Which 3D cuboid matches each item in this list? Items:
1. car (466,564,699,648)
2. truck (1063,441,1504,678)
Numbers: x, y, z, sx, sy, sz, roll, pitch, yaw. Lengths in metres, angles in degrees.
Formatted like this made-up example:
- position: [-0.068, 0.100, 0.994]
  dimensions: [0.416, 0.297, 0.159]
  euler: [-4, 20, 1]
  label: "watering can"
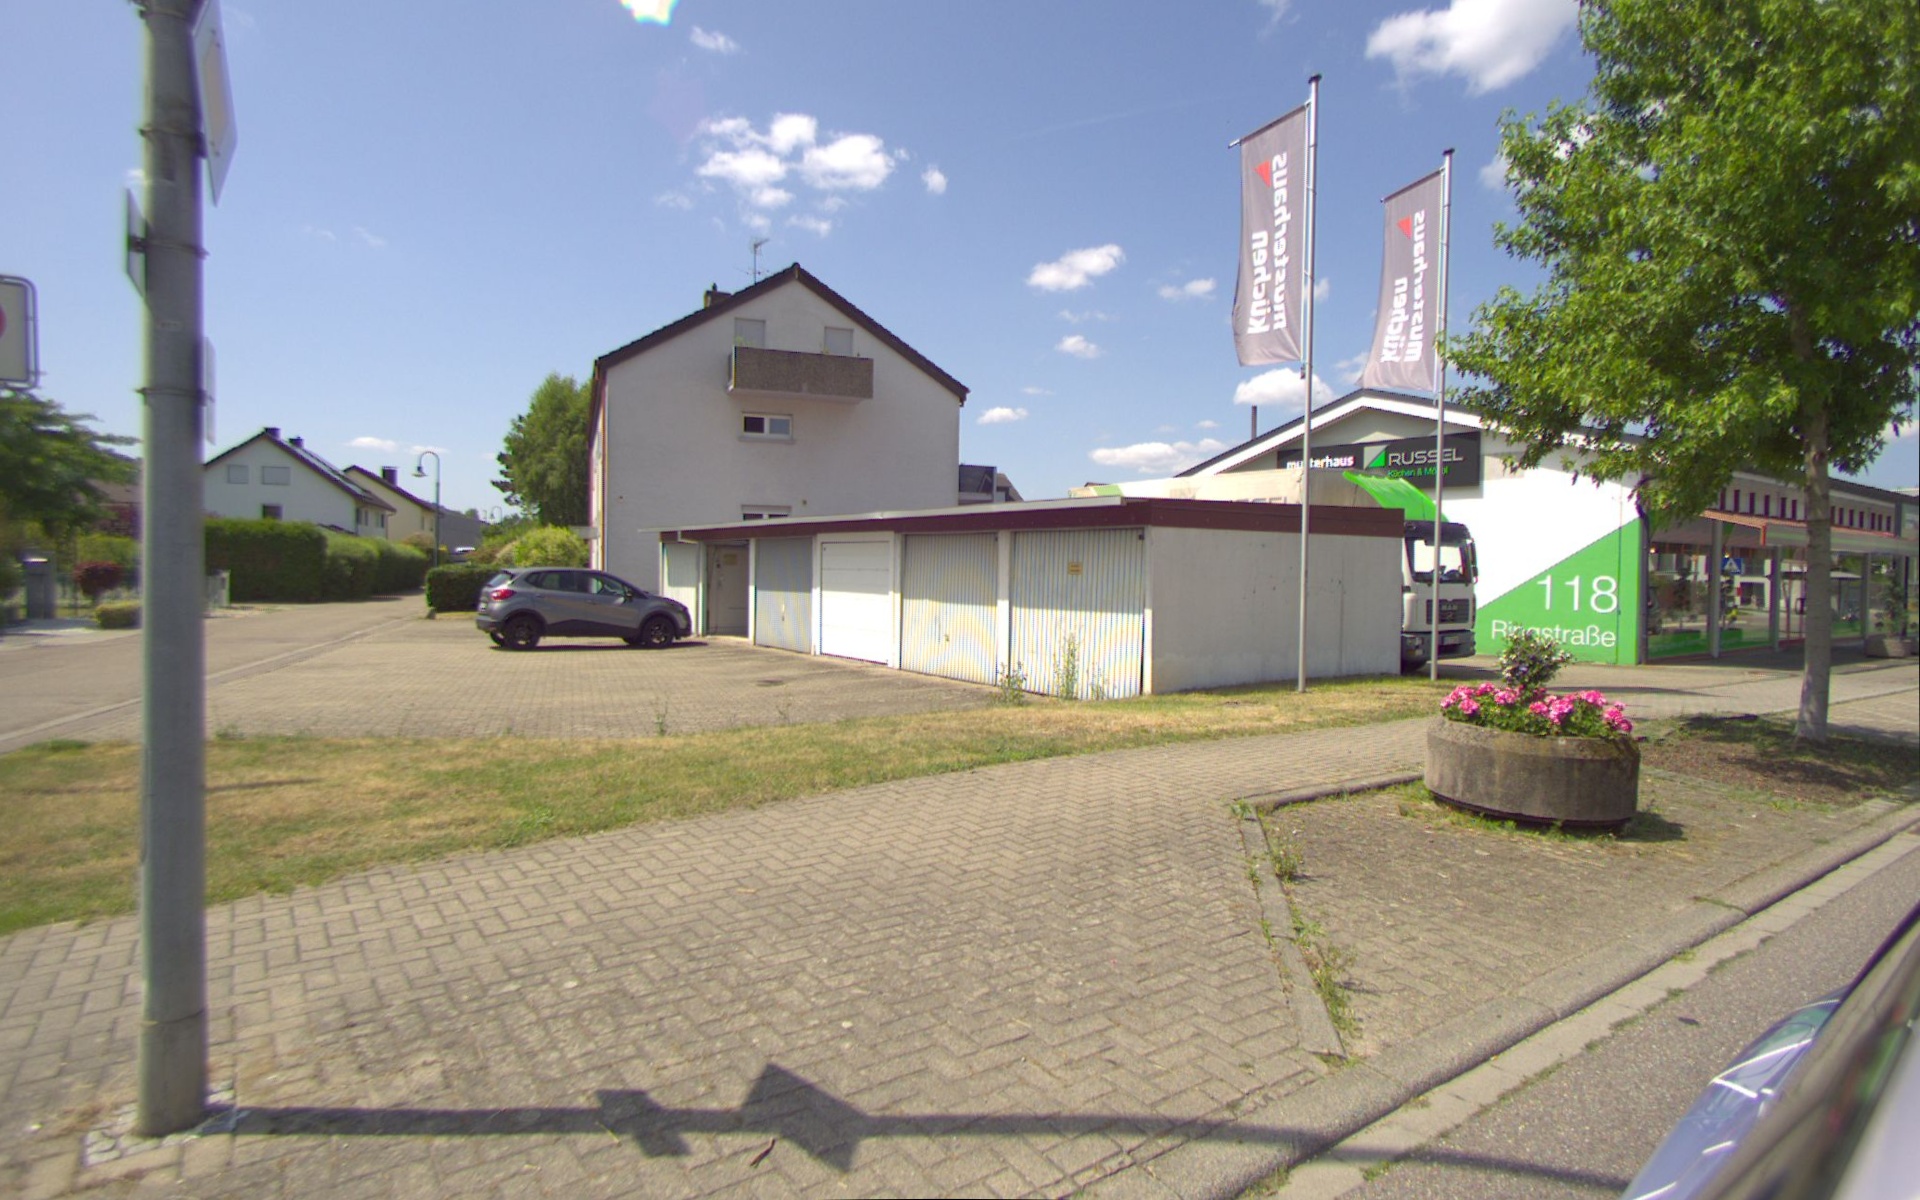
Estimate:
- position: [-7.438, 0.078, 20.090]
  dimensions: [4.052, 1.521, 1.681]
  euler: [0, 2, -35]
  label: "car"
- position: [5.695, -0.732, 19.571]
  dimensions: [2.628, 3.616, 8.197]
  euler: [-1, 2, -36]
  label: "truck"
